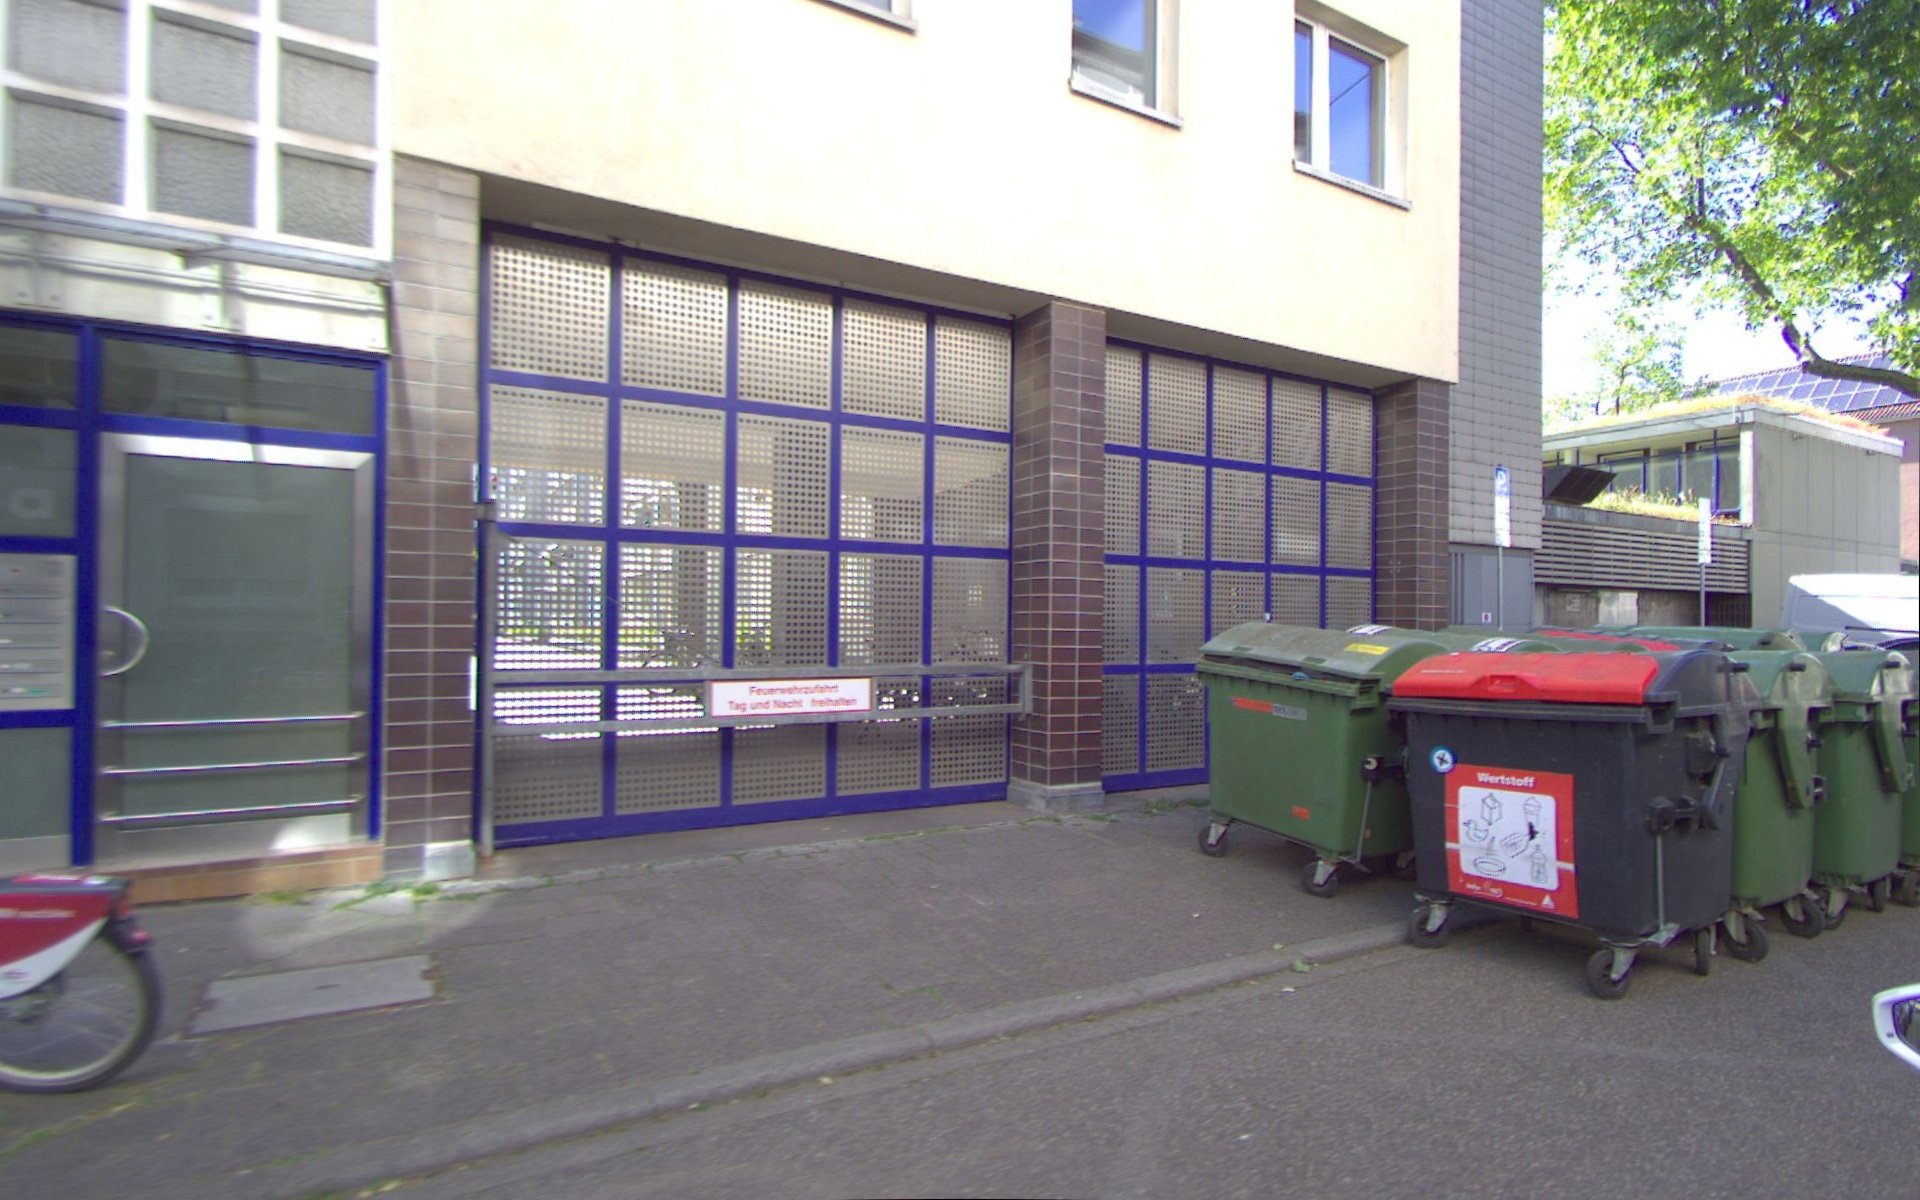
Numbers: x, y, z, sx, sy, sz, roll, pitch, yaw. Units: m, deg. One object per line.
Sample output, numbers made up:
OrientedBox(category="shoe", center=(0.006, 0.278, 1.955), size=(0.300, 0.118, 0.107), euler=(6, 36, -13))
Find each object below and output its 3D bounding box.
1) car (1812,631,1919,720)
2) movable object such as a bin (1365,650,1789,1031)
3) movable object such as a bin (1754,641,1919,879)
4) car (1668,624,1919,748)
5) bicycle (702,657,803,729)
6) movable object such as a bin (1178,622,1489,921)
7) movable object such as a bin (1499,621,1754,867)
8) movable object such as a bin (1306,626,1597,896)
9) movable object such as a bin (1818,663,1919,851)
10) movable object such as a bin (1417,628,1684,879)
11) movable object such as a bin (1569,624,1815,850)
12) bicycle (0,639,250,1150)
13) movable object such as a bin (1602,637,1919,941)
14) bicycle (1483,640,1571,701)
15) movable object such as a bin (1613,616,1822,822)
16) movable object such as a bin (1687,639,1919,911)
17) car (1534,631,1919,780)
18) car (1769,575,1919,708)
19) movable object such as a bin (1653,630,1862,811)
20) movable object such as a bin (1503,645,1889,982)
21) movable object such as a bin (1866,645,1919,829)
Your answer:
OrientedBox(category="car", center=(18.158, 1.434, 17.636), size=(1.905, 1.490, 4.480), euler=(2, 1, -28))
OrientedBox(category="movable object such as a bin", center=(2.870, 0.982, 4.780), size=(1.173, 1.469, 1.313), euler=(2, -4, -30))
OrientedBox(category="movable object such as a bin", center=(6.540, 1.067, 6.966), size=(1.069, 1.510, 1.328), euler=(2, -2, -30))
OrientedBox(category="car", center=(13.811, 1.283, 15.396), size=(1.895, 1.631, 4.441), euler=(2, -1, -32))
OrientedBox(category="bicycle", center=(-2.607, 1.156, 12.630), size=(1.224, 0.858, 0.421), euler=(1, -1, -14))
OrientedBox(category="movable object such as a bin", center=(2.195, 0.911, 6.003), size=(1.165, 1.517, 1.290), euler=(2, -2, -30))
OrientedBox(category="movable object such as a bin", center=(4.986, 0.996, 7.564), size=(1.006, 1.642, 1.288), euler=(2, -2, -30))
OrientedBox(category="movable object such as a bin", center=(3.183, 0.952, 6.581), size=(1.143, 1.518, 1.299), euler=(2, -2, -30))
OrientedBox(category="movable object such as a bin", center=(7.443, 1.174, 7.556), size=(1.033, 1.339, 1.235), euler=(2, -2, -30))
OrientedBox(category="movable object such as a bin", center=(4.122, 0.992, 7.080), size=(1.006, 1.542, 1.296), euler=(2, -2, -30))
OrientedBox(category="movable object such as a bin", center=(5.882, 1.024, 8.116), size=(1.069, 1.625, 1.282), euler=(2, -2, -30))
OrientedBox(category="bicycle", center=(-3.127, 0.783, 2.738), size=(1.828, 1.349, 0.464), euler=(4, 1, -22))
OrientedBox(category="movable object such as a bin", center=(4.753, 0.991, 5.905), size=(0.991, 1.506, 1.342), euler=(2, -2, -30))
OrientedBox(category="bicycle", center=(11.330, 1.381, 20.066), size=(2.014, 1.139, 0.606), euler=(1, 0, -31))
OrientedBox(category="movable object such as a bin", center=(6.803, 1.001, 9.040), size=(1.162, 1.675, 1.219), euler=(2, -2, -36))
OrientedBox(category="movable object such as a bin", center=(5.642, 1.030, 6.411), size=(1.006, 1.518, 1.337), euler=(2, -2, -30))
OrientedBox(category="car", center=(9.824, 1.219, 12.923), size=(1.806, 1.524, 3.856), euler=(2, -2, -31))
OrientedBox(category="car", center=(20.274, 0.901, 19.547), size=(2.119, 2.589, 6.711), euler=(2, 1, -28))
OrientedBox(category="movable object such as a bin", center=(7.718, 1.097, 9.745), size=(1.110, 1.570, 1.343), euler=(2, -2, -36))
OrientedBox(category="movable object such as a bin", center=(3.869, 1.005, 5.370), size=(1.081, 1.503, 1.328), euler=(2, -4, -30))
OrientedBox(category="movable object such as a bin", center=(8.363, 1.122, 8.139), size=(1.106, 1.470, 1.292), euler=(2, -2, -33))
